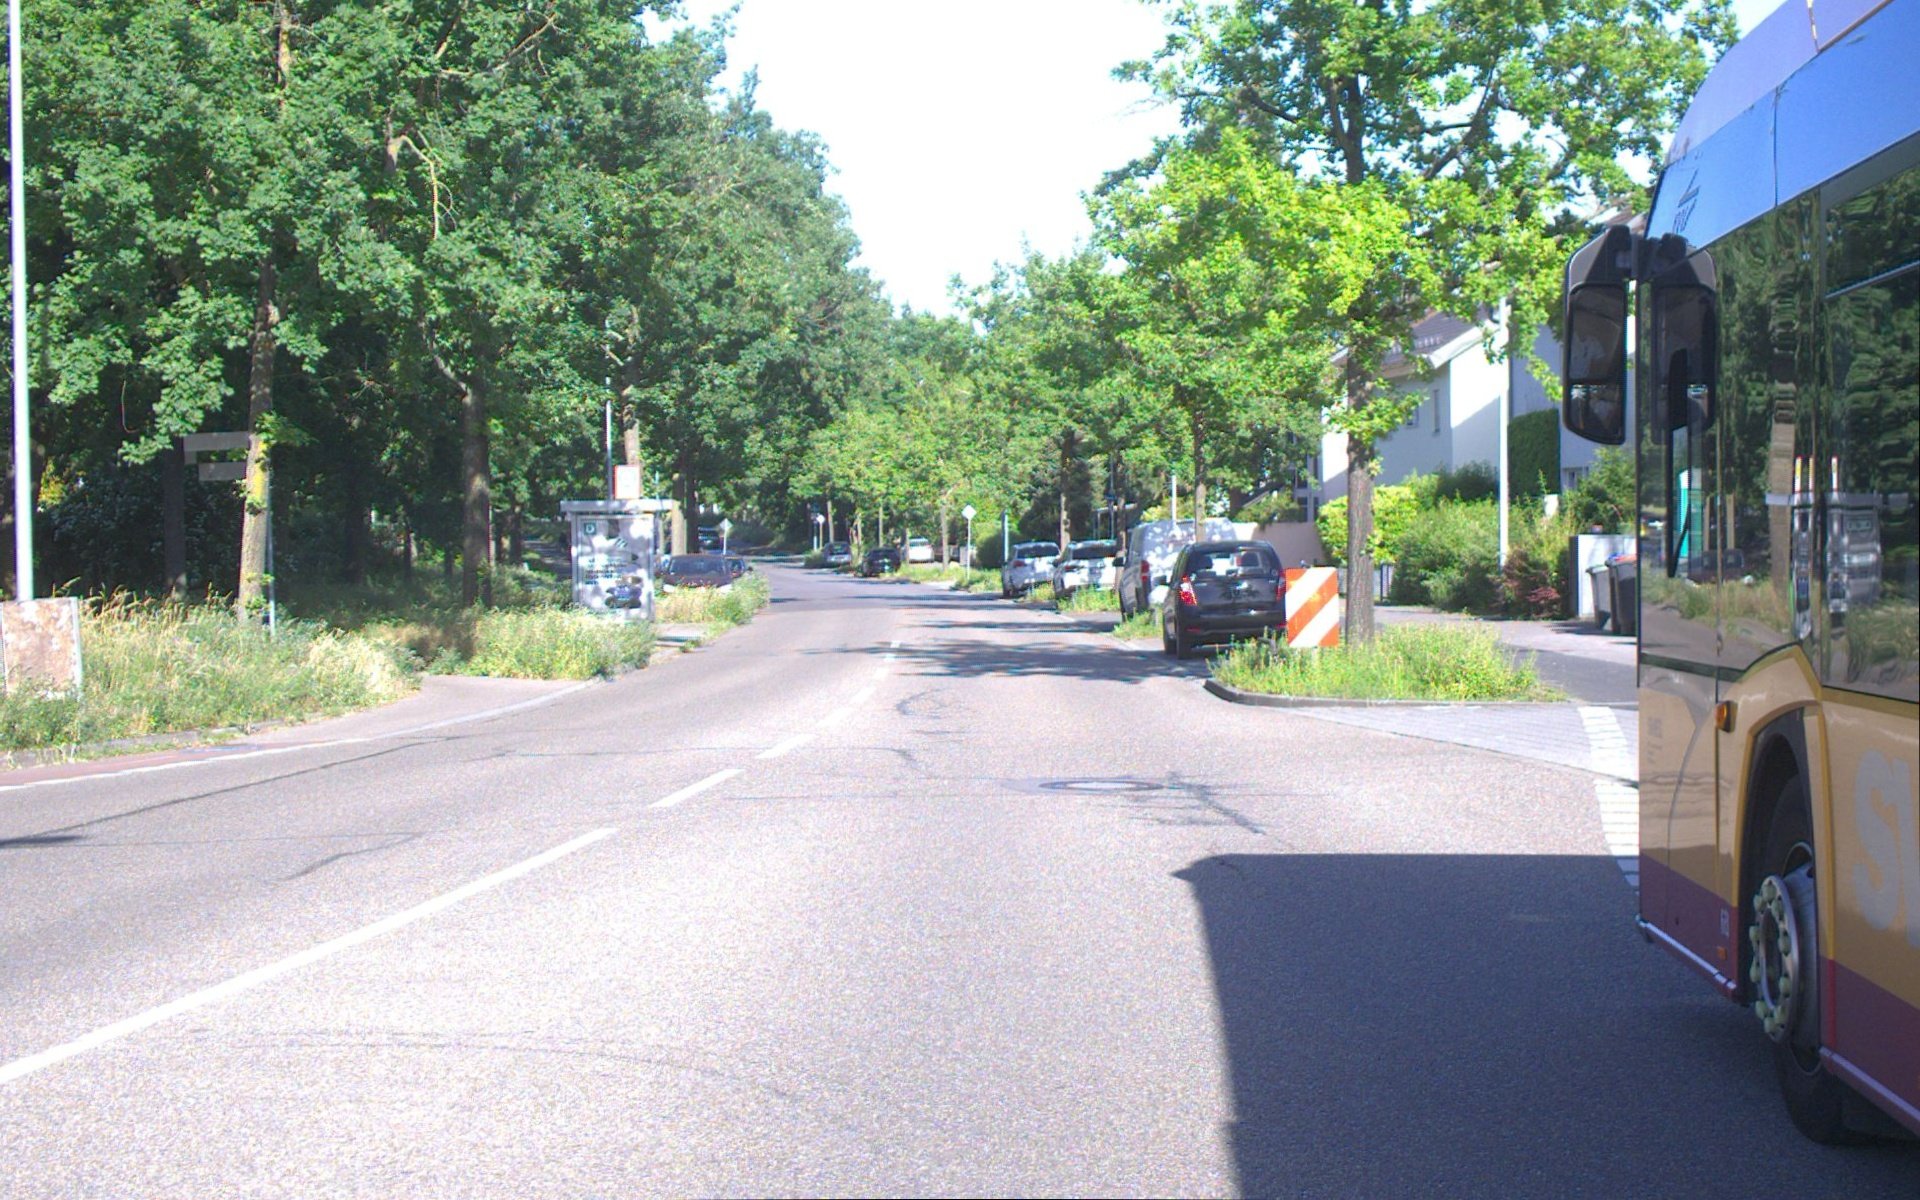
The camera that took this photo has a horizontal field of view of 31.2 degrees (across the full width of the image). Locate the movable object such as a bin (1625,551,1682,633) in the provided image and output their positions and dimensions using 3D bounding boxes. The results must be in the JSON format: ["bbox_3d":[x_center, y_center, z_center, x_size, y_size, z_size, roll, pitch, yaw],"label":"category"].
[{"bbox_3d":[9.138,-0.110,45.300,0.603,1.065,0.646,-1,1,-1],"label":"movable object such as a bin"}]

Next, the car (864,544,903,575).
[{"bbox_3d":[-3.882,-2.062,173.815,1.933,1.537,4.000,-1,1,-2],"label":"car"}]

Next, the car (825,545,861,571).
[{"bbox_3d":[-6.776,-2.445,198.582,1.933,1.449,4.001,-1,1,-3],"label":"car"}]

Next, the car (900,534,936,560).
[{"bbox_3d":[-2.444,-3.090,199.808,1.933,1.449,4.001,-1,1,-3],"label":"car"}]

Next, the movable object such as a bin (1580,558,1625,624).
[{"bbox_3d":[9.112,-0.134,48.786,0.529,0.929,0.549,-1,1,-1],"label":"movable object such as a bin"}]

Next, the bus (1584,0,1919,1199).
[{"bbox_3d":[3.150,-0.446,5.443,2.758,3.446,12.396,-1,0,4],"label":"bus"}]

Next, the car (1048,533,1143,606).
[{"bbox_3d":[3.214,-0.746,82.145,1.935,1.698,4.000,-1,1,-2],"label":"car"}]

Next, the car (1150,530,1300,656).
[{"bbox_3d":[3.543,-0.122,46.517,1.672,1.573,3.752,-2,1,0],"label":"car"}]

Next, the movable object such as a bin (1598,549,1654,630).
[{"bbox_3d":[8.950,-0.143,46.214,0.603,1.065,0.646,-1,1,-1],"label":"movable object such as a bin"}]

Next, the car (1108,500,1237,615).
[{"bbox_3d":[3.775,-0.770,61.721,1.835,1.964,4.759,-1,1,-2],"label":"car"}]

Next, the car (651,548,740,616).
[{"bbox_3d":[-5.935,-0.420,77.370,1.935,1.474,4.001,-1,1,-4],"label":"car"}]

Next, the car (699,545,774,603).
[{"bbox_3d":[-6.147,-0.725,94.223,1.993,1.551,4.001,0,1,-4],"label":"car"}]

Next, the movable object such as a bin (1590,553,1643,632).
[{"bbox_3d":[8.981,-0.103,47.026,0.603,1.065,0.567,-1,1,-1],"label":"movable object such as a bin"}]

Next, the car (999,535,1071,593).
[{"bbox_3d":[2.266,-1.108,104.654,1.933,1.736,4.000,-1,1,-2],"label":"car"}]
